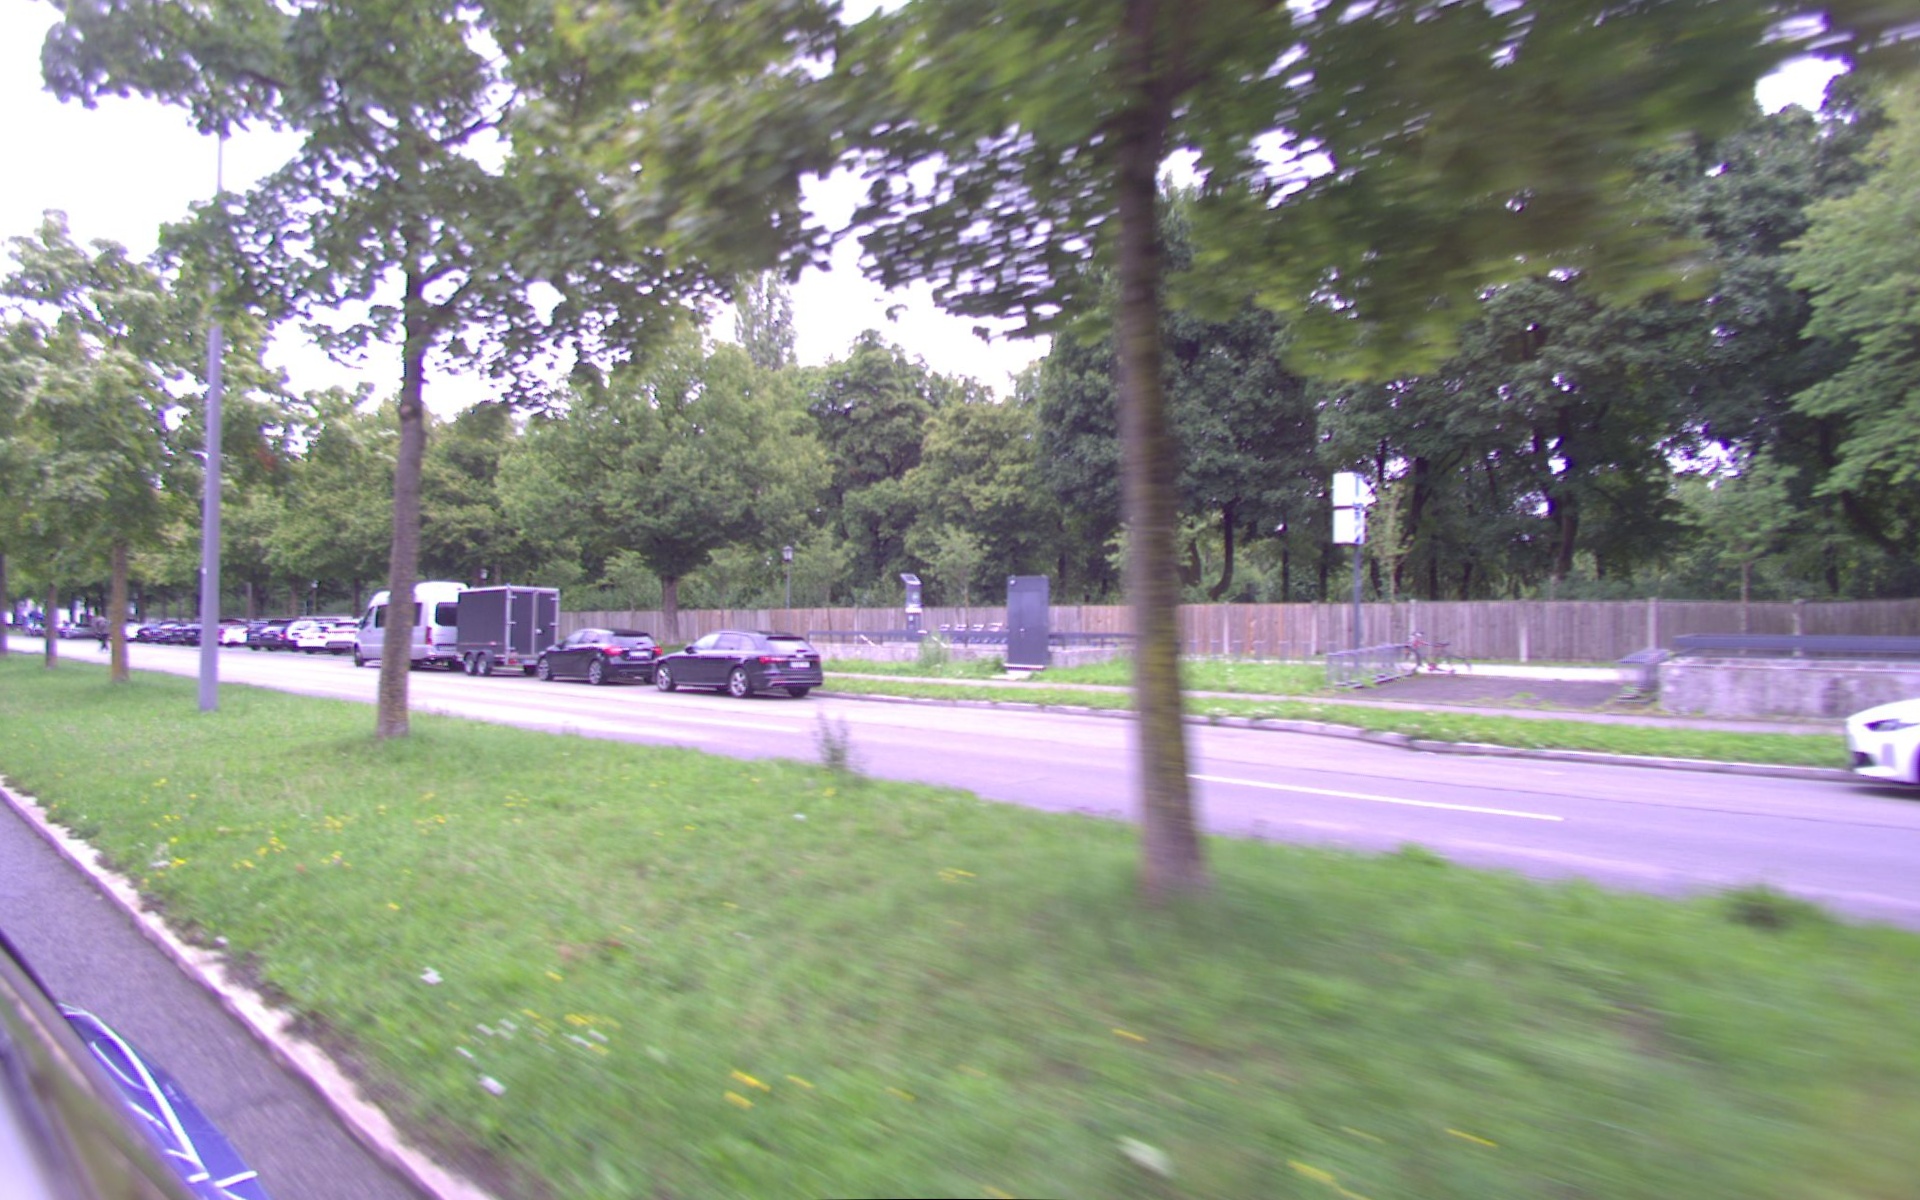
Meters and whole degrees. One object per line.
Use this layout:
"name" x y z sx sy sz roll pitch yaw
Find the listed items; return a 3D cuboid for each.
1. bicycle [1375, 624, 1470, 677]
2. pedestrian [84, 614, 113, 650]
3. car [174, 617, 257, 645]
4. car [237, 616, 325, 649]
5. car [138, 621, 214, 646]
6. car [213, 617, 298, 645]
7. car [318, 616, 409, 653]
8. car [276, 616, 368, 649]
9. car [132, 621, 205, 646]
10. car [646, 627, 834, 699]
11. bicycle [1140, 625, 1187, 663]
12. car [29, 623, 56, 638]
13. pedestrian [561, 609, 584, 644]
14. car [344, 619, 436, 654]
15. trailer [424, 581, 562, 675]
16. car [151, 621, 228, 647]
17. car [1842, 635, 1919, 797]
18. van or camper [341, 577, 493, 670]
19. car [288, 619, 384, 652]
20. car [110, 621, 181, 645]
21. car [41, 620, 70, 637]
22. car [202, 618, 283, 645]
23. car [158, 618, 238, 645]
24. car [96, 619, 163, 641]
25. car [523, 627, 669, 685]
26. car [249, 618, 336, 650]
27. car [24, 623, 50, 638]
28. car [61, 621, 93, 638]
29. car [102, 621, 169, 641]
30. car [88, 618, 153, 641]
"bicycle" 10.010 1.077 21.957 1.825 1.108 0.427 -1 -1 42
"pedestrian" -41.623 1.539 48.899 0.859 1.711 0.773 2 -1 -29
"car" -47.394 1.967 64.516 1.873 1.569 3.983 -2 0 13
"car" -37.925 1.787 56.632 1.783 1.599 3.985 -2 0 12
"car" -54.466 2.298 70.396 1.870 1.569 3.989 -2 0 9
"car" -42.449 1.866 61.054 1.873 1.474 3.983 -2 0 13
"car" -28.348 1.608 48.233 1.779 1.635 3.994 0 0 5
"car" -33.284 1.677 52.940 1.780 1.585 4.316 0 0 7
"car" -56.925 2.387 72.861 1.870 1.569 3.989 -2 0 9
"car" -4.928 1.338 22.378 4.429 1.436 1.781 -1 -3 41
"bicycle" 5.427 1.160 26.932 0.432 0.937 1.801 -1 -1 40
"car" -93.014 3.063 102.627 1.864 1.454 4.171 0 0 -45
"pedestrian" -19.945 1.349 52.126 0.873 1.781 0.761 -1 -2 37
"car" -26.165 1.656 46.595 1.778 1.477 3.995 0 0 4
"trailer" -14.093 0.852 30.443 4.656 2.610 1.995 -1 -3 41
"car" -52.155 2.303 68.594 1.870 1.569 3.989 -2 0 9
"car" 10.918 1.075 8.767 4.872 1.484 1.837 -1 -3 41
"van or camper" -18.619 0.824 34.464 7.543 2.859 2.013 -1 -3 42
"car" -30.848 1.721 50.159 1.780 1.449 4.316 0 0 7
"car" -61.305 2.484 76.256 1.870 1.569 3.989 -2 0 9
"car" -86.738 2.710 97.007 1.864 1.454 4.171 0 0 -45
"car" -44.689 1.961 63.167 1.723 1.466 3.983 -2 0 13
"car" -49.678 2.028 66.100 1.870 1.569 3.989 -2 0 9
"car" -66.291 2.401 80.892 1.869 1.654 3.992 0 0 7
"car" -9.639 1.426 26.685 4.236 1.394 1.781 -1 -3 41
"car" -35.861 1.815 54.514 1.780 1.497 3.992 -2 0 6
"car" -97.150 3.172 106.536 1.864 1.454 4.171 0 0 -45
"car" -78.121 2.584 89.521 1.864 1.454 4.171 0 0 -45
"car" -63.771 2.387 78.385 1.574 1.376 3.987 0 0 10
"car" -68.654 2.395 82.858 1.760 1.741 3.992 0 0 7
